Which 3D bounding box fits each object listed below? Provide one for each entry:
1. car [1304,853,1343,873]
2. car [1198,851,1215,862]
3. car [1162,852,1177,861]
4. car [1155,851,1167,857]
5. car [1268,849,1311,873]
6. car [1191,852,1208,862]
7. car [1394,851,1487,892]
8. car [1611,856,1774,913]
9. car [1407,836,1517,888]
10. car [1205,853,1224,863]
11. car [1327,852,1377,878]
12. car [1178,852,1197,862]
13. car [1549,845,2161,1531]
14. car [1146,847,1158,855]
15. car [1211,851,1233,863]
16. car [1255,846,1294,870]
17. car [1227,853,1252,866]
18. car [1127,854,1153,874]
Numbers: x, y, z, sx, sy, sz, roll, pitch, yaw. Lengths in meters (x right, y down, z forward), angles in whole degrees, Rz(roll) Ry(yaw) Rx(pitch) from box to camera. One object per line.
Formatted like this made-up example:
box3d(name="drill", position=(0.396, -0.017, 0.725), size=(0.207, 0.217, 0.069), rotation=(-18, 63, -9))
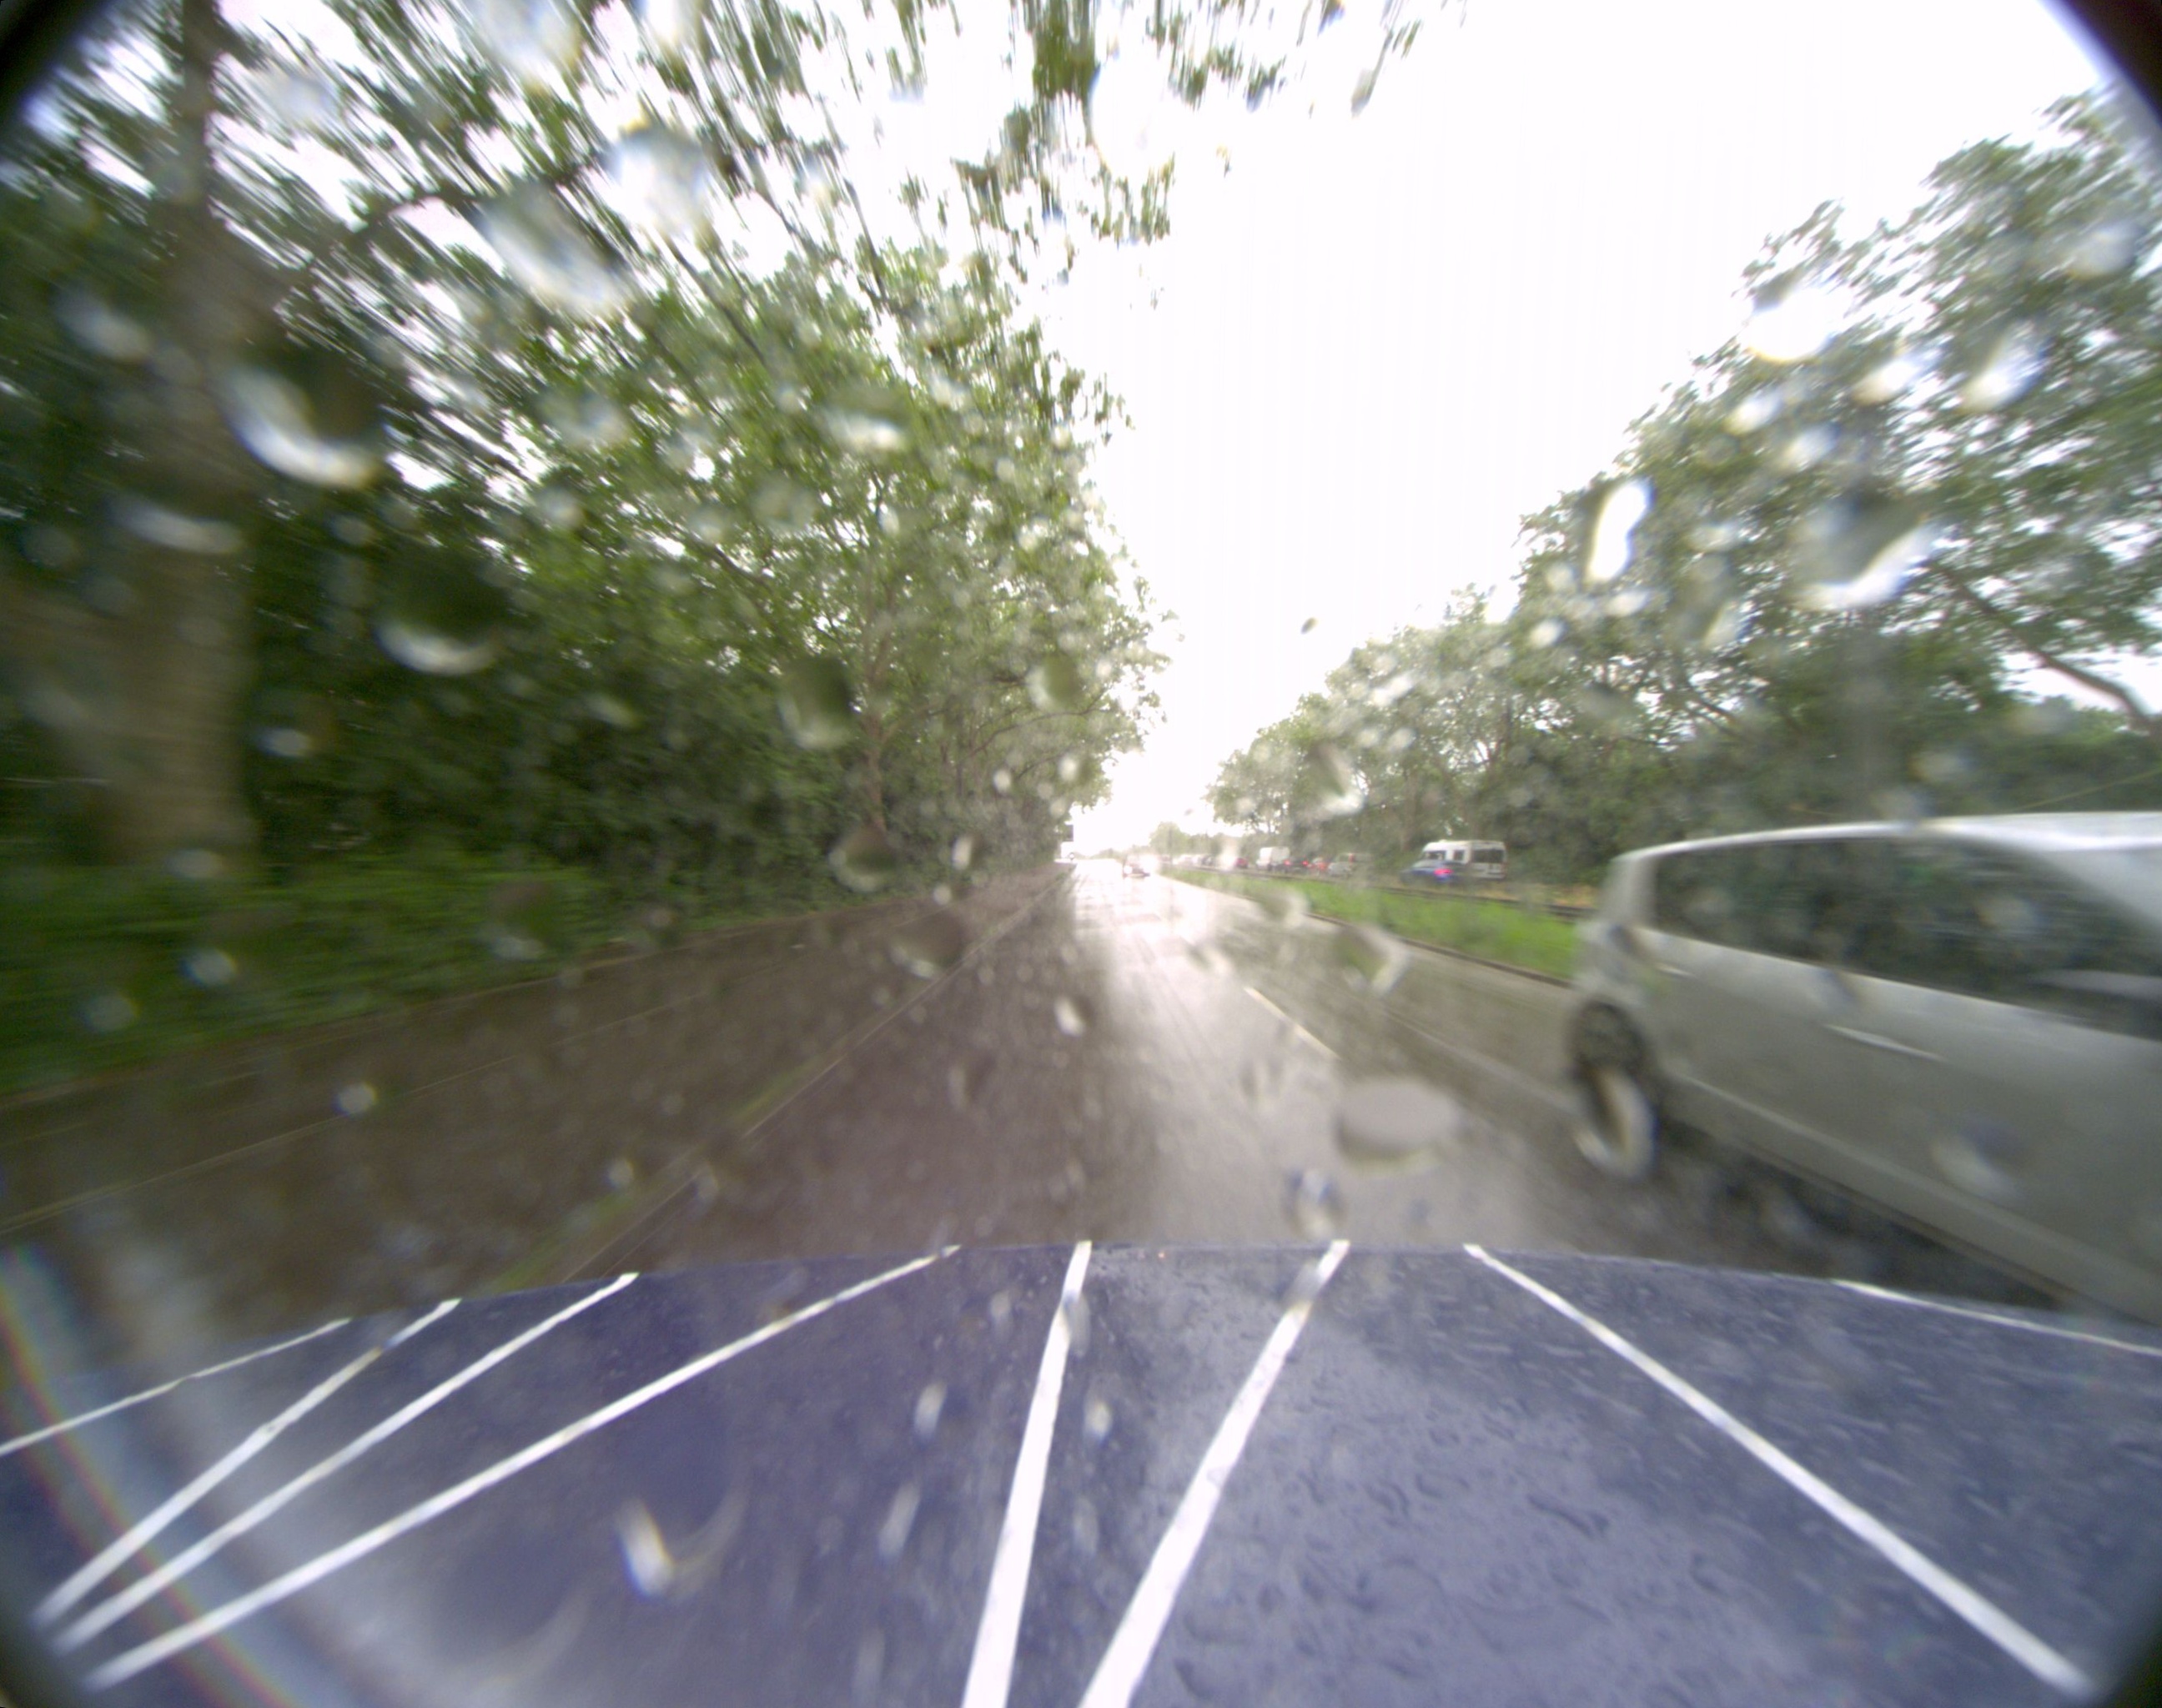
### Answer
box3d(name="car", position=(19.984, 0.742, 62.780), size=(1.822, 1.543, 4.024), rotation=(1, 1, -1))
box3d(name="car", position=(19.227, 0.421, 116.560), size=(1.890, 1.641, 4.368), rotation=(1, 1, -1))
box3d(name="car", position=(15.738, 0.404, 135.130), size=(2.038, 1.543, 4.566), rotation=(0, 0, -1))
box3d(name="car", position=(19.069, 0.038, 180.688), size=(2.039, 1.458, 4.917), rotation=(-1, 0, -2))
box3d(name="car", position=(16.286, 0.499, 59.595), size=(2.037, 1.741, 4.258), rotation=(1, 1, -2))
box3d(name="car", position=(19.190, 0.428, 123.173), size=(1.891, 1.502, 4.577), rotation=(1, 0, -2))
box3d(name="car", position=(16.939, 0.776, 36.092), size=(2.037, 1.741, 4.692), rotation=(1, 1, -2))
box3d(name="car", position=(20.709, 0.975, 26.022), size=(1.755, 1.718, 4.530), rotation=(1, 1, -2))
box3d(name="car", position=(20.362, 0.374, 41.085), size=(2.396, 2.526, 6.564), rotation=(1, 1, -2))
box3d(name="car", position=(19.395, 0.602, 110.426), size=(1.890, 1.371, 3.964), rotation=(1, 1, -1))
box3d(name="car", position=(20.141, 0.766, 56.660), size=(1.962, 1.851, 4.639), rotation=(1, 1, -1))
box3d(name="car", position=(16.024, 0.435, 114.469), size=(1.983, 1.558, 4.767), rotation=(1, 0, -2))
box3d(name="car", position=(3.541, 0.802, 2.190), size=(1.869, 1.614, 4.263), rotation=(-1, 1, 2))
box3d(name="car", position=(15.576, -0.657, 167.447), size=(2.039, 1.543, 4.995), rotation=(1, 0, -2))
box3d(name="car", position=(19.522, 0.428, 105.207), size=(2.039, 1.543, 4.383), rotation=(1, 1, -2))
box3d(name="car", position=(19.912, 0.365, 78.492), size=(2.335, 2.432, 6.137), rotation=(1, 1, -1))
box3d(name="car", position=(19.605, 0.634, 93.991), size=(2.039, 1.543, 4.383), rotation=(1, 1, -2))
box3d(name="car", position=(4.401, 0.724, 56.885), size=(1.726, 1.425, 3.851), rotation=(-1, 0, 1))
